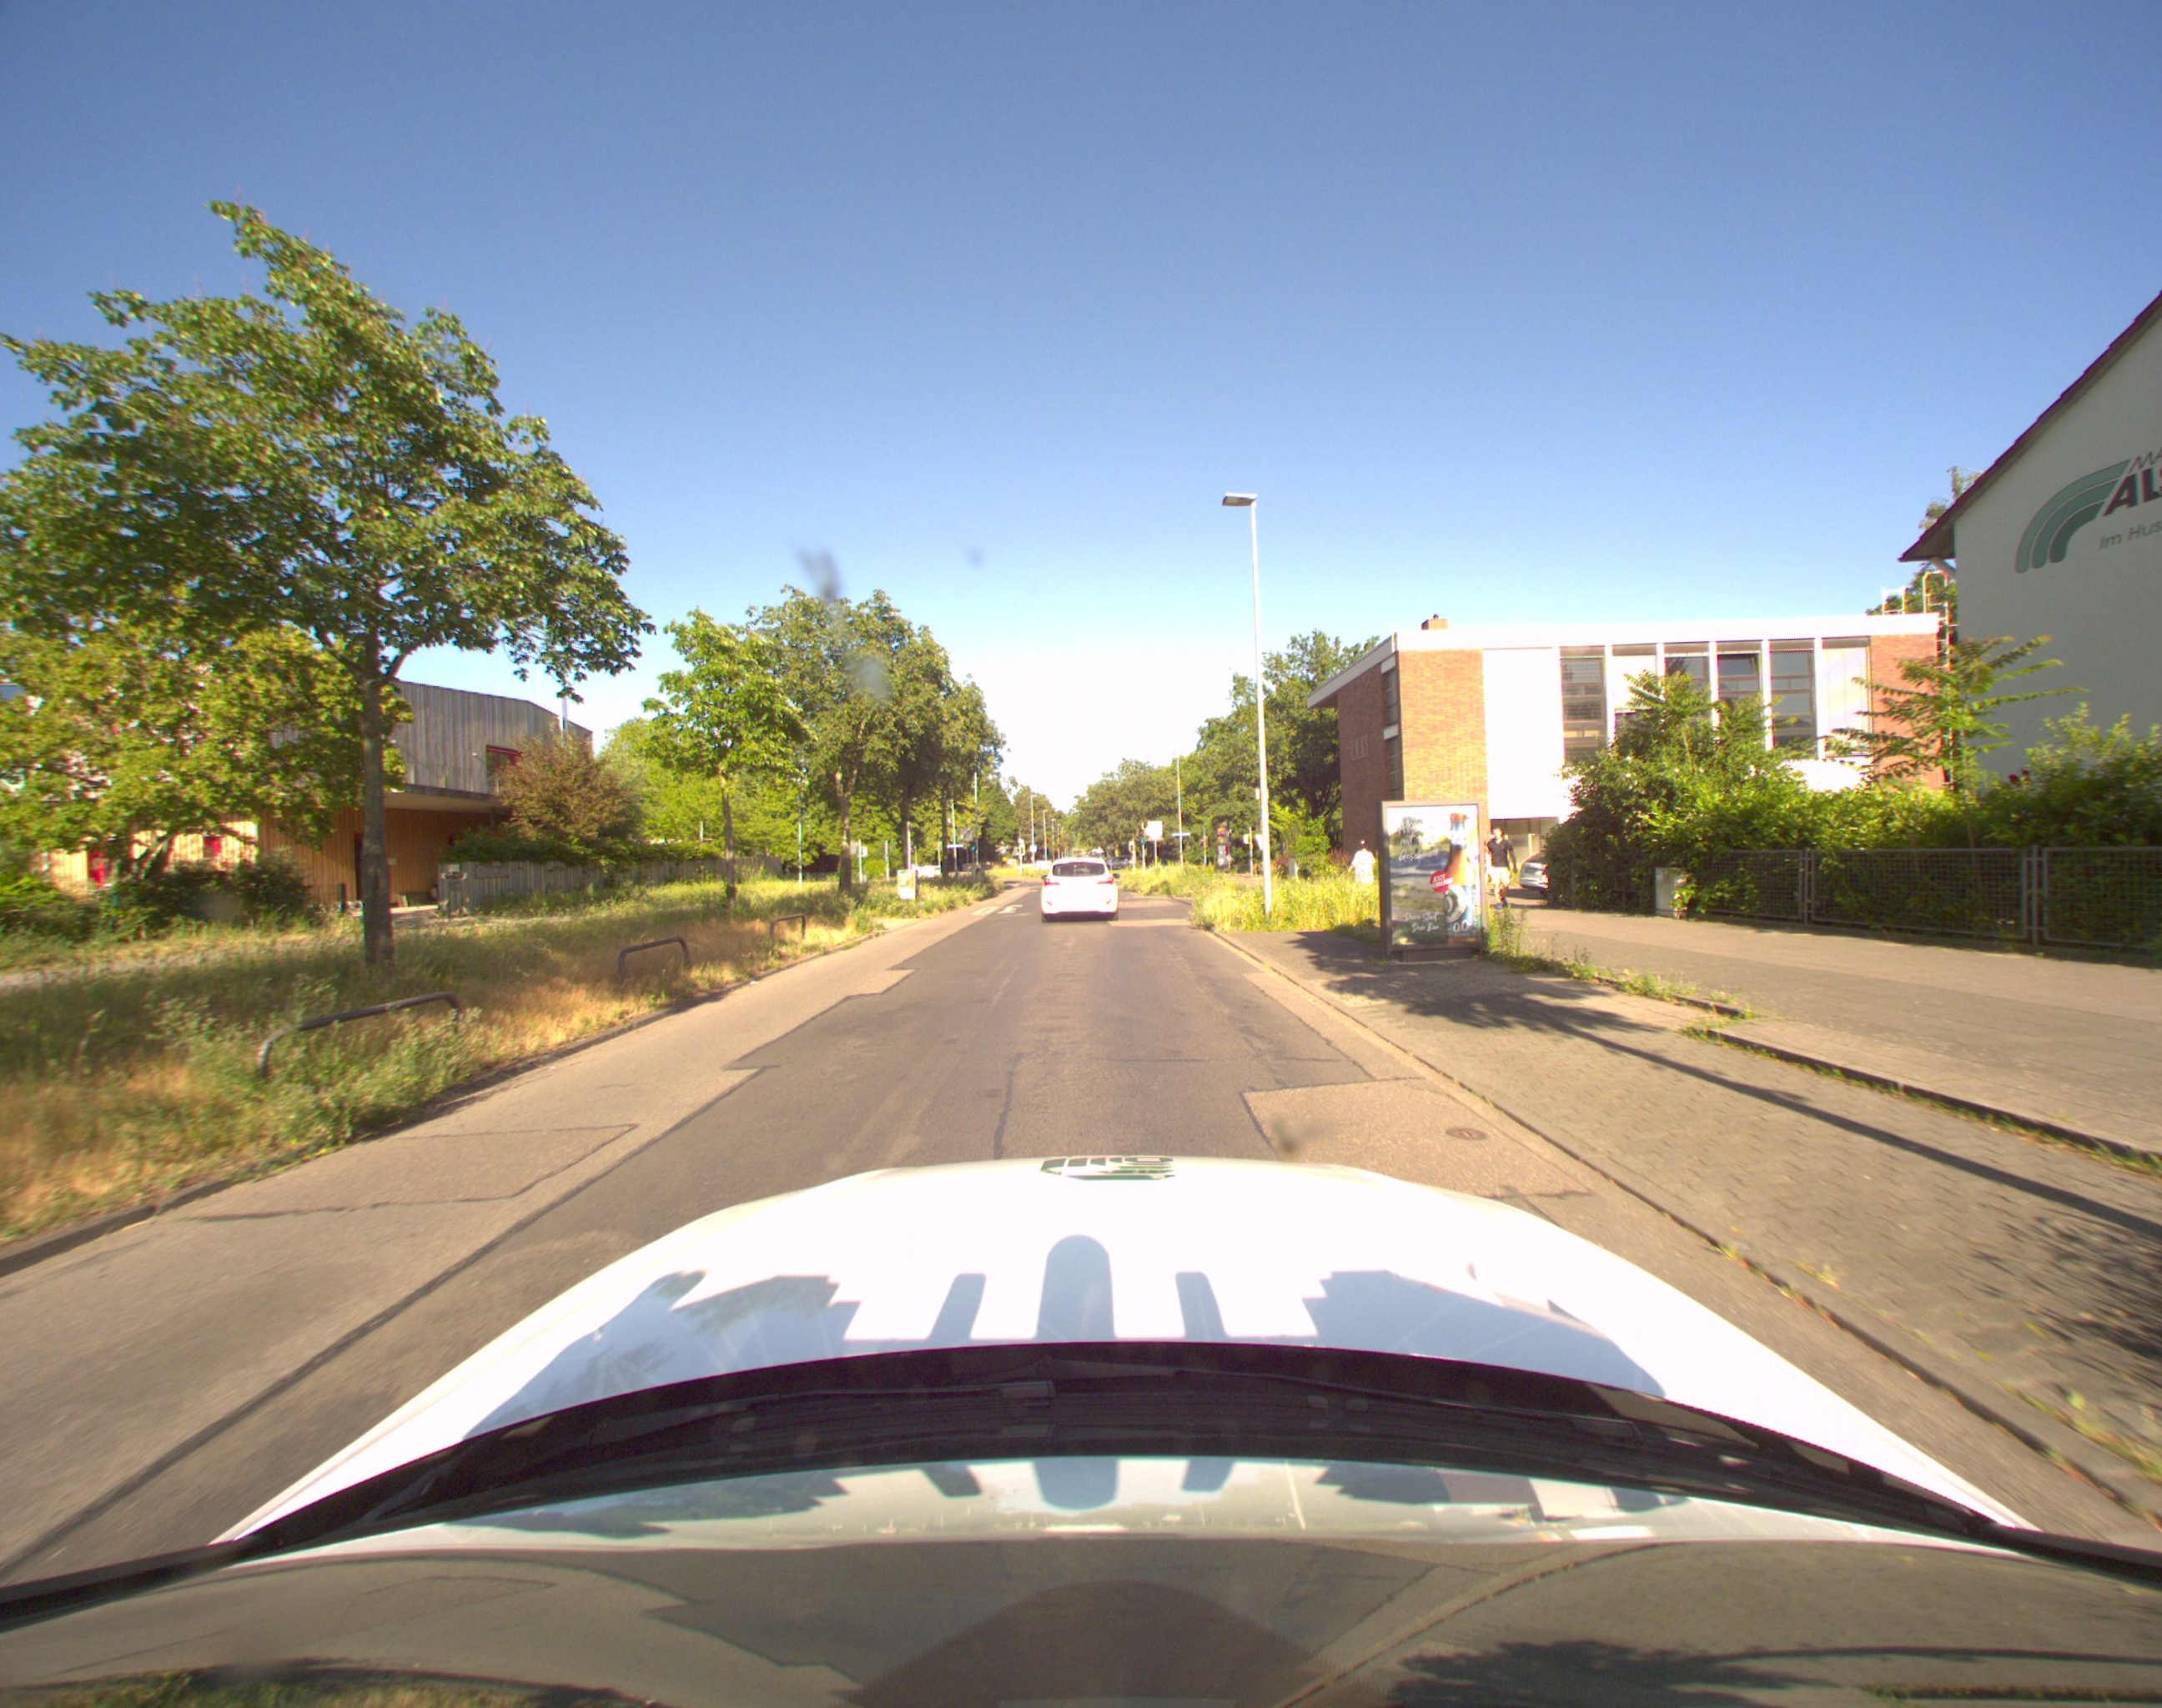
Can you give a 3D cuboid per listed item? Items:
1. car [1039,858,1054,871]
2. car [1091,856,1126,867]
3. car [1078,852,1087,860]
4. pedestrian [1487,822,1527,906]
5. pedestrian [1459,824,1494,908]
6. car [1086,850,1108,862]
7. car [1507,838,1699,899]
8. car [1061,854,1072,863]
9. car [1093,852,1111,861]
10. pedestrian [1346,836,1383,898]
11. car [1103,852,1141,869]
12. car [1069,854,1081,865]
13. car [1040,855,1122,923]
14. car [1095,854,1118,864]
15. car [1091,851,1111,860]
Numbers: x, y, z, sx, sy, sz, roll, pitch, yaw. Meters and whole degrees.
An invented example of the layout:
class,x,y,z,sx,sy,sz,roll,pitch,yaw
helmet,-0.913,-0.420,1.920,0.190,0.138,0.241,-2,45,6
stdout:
class,x,y,z,sx,sy,sz,roll,pitch,yaw
car,-5.086,1.567,121.005,1.987,1.815,4.000,-1,0,0
car,4.454,1.284,132.178,5.596,1.684,1.948,-1,-1,0
car,0.328,0.399,180.052,1.987,1.816,4.000,-1,-1,0
pedestrian,8.984,0.217,17.191,0.601,1.732,0.642,-1,-1,16
pedestrian,8.416,0.257,17.346,0.550,1.732,0.664,-1,-1,16
car,2.907,0.415,148.932,3.807,2.098,1.863,-1,-1,0
car,14.426,0.367,22.680,4.180,1.502,1.806,-2,1,0
car,-3.016,0.953,169.331,1.987,1.816,4.000,-1,0,0
car,4.485,0.514,173.111,3.807,1.767,1.863,-1,-1,0
pedestrian,8.591,0.388,24.695,0.895,1.822,0.737,-1,-1,5
car,4.873,0.752,96.850,4.481,1.783,1.856,-2,0,2
car,-1.033,0.918,135.434,1.987,1.816,3.999,1,0,0
car,0.001,0.783,20.060,1.784,1.463,3.963,-2,0,0
car,4.326,0.800,138.901,3.807,1.684,1.863,-1,-1,0
car,4.268,0.382,176.259,4.288,1.908,1.863,-1,-1,0
